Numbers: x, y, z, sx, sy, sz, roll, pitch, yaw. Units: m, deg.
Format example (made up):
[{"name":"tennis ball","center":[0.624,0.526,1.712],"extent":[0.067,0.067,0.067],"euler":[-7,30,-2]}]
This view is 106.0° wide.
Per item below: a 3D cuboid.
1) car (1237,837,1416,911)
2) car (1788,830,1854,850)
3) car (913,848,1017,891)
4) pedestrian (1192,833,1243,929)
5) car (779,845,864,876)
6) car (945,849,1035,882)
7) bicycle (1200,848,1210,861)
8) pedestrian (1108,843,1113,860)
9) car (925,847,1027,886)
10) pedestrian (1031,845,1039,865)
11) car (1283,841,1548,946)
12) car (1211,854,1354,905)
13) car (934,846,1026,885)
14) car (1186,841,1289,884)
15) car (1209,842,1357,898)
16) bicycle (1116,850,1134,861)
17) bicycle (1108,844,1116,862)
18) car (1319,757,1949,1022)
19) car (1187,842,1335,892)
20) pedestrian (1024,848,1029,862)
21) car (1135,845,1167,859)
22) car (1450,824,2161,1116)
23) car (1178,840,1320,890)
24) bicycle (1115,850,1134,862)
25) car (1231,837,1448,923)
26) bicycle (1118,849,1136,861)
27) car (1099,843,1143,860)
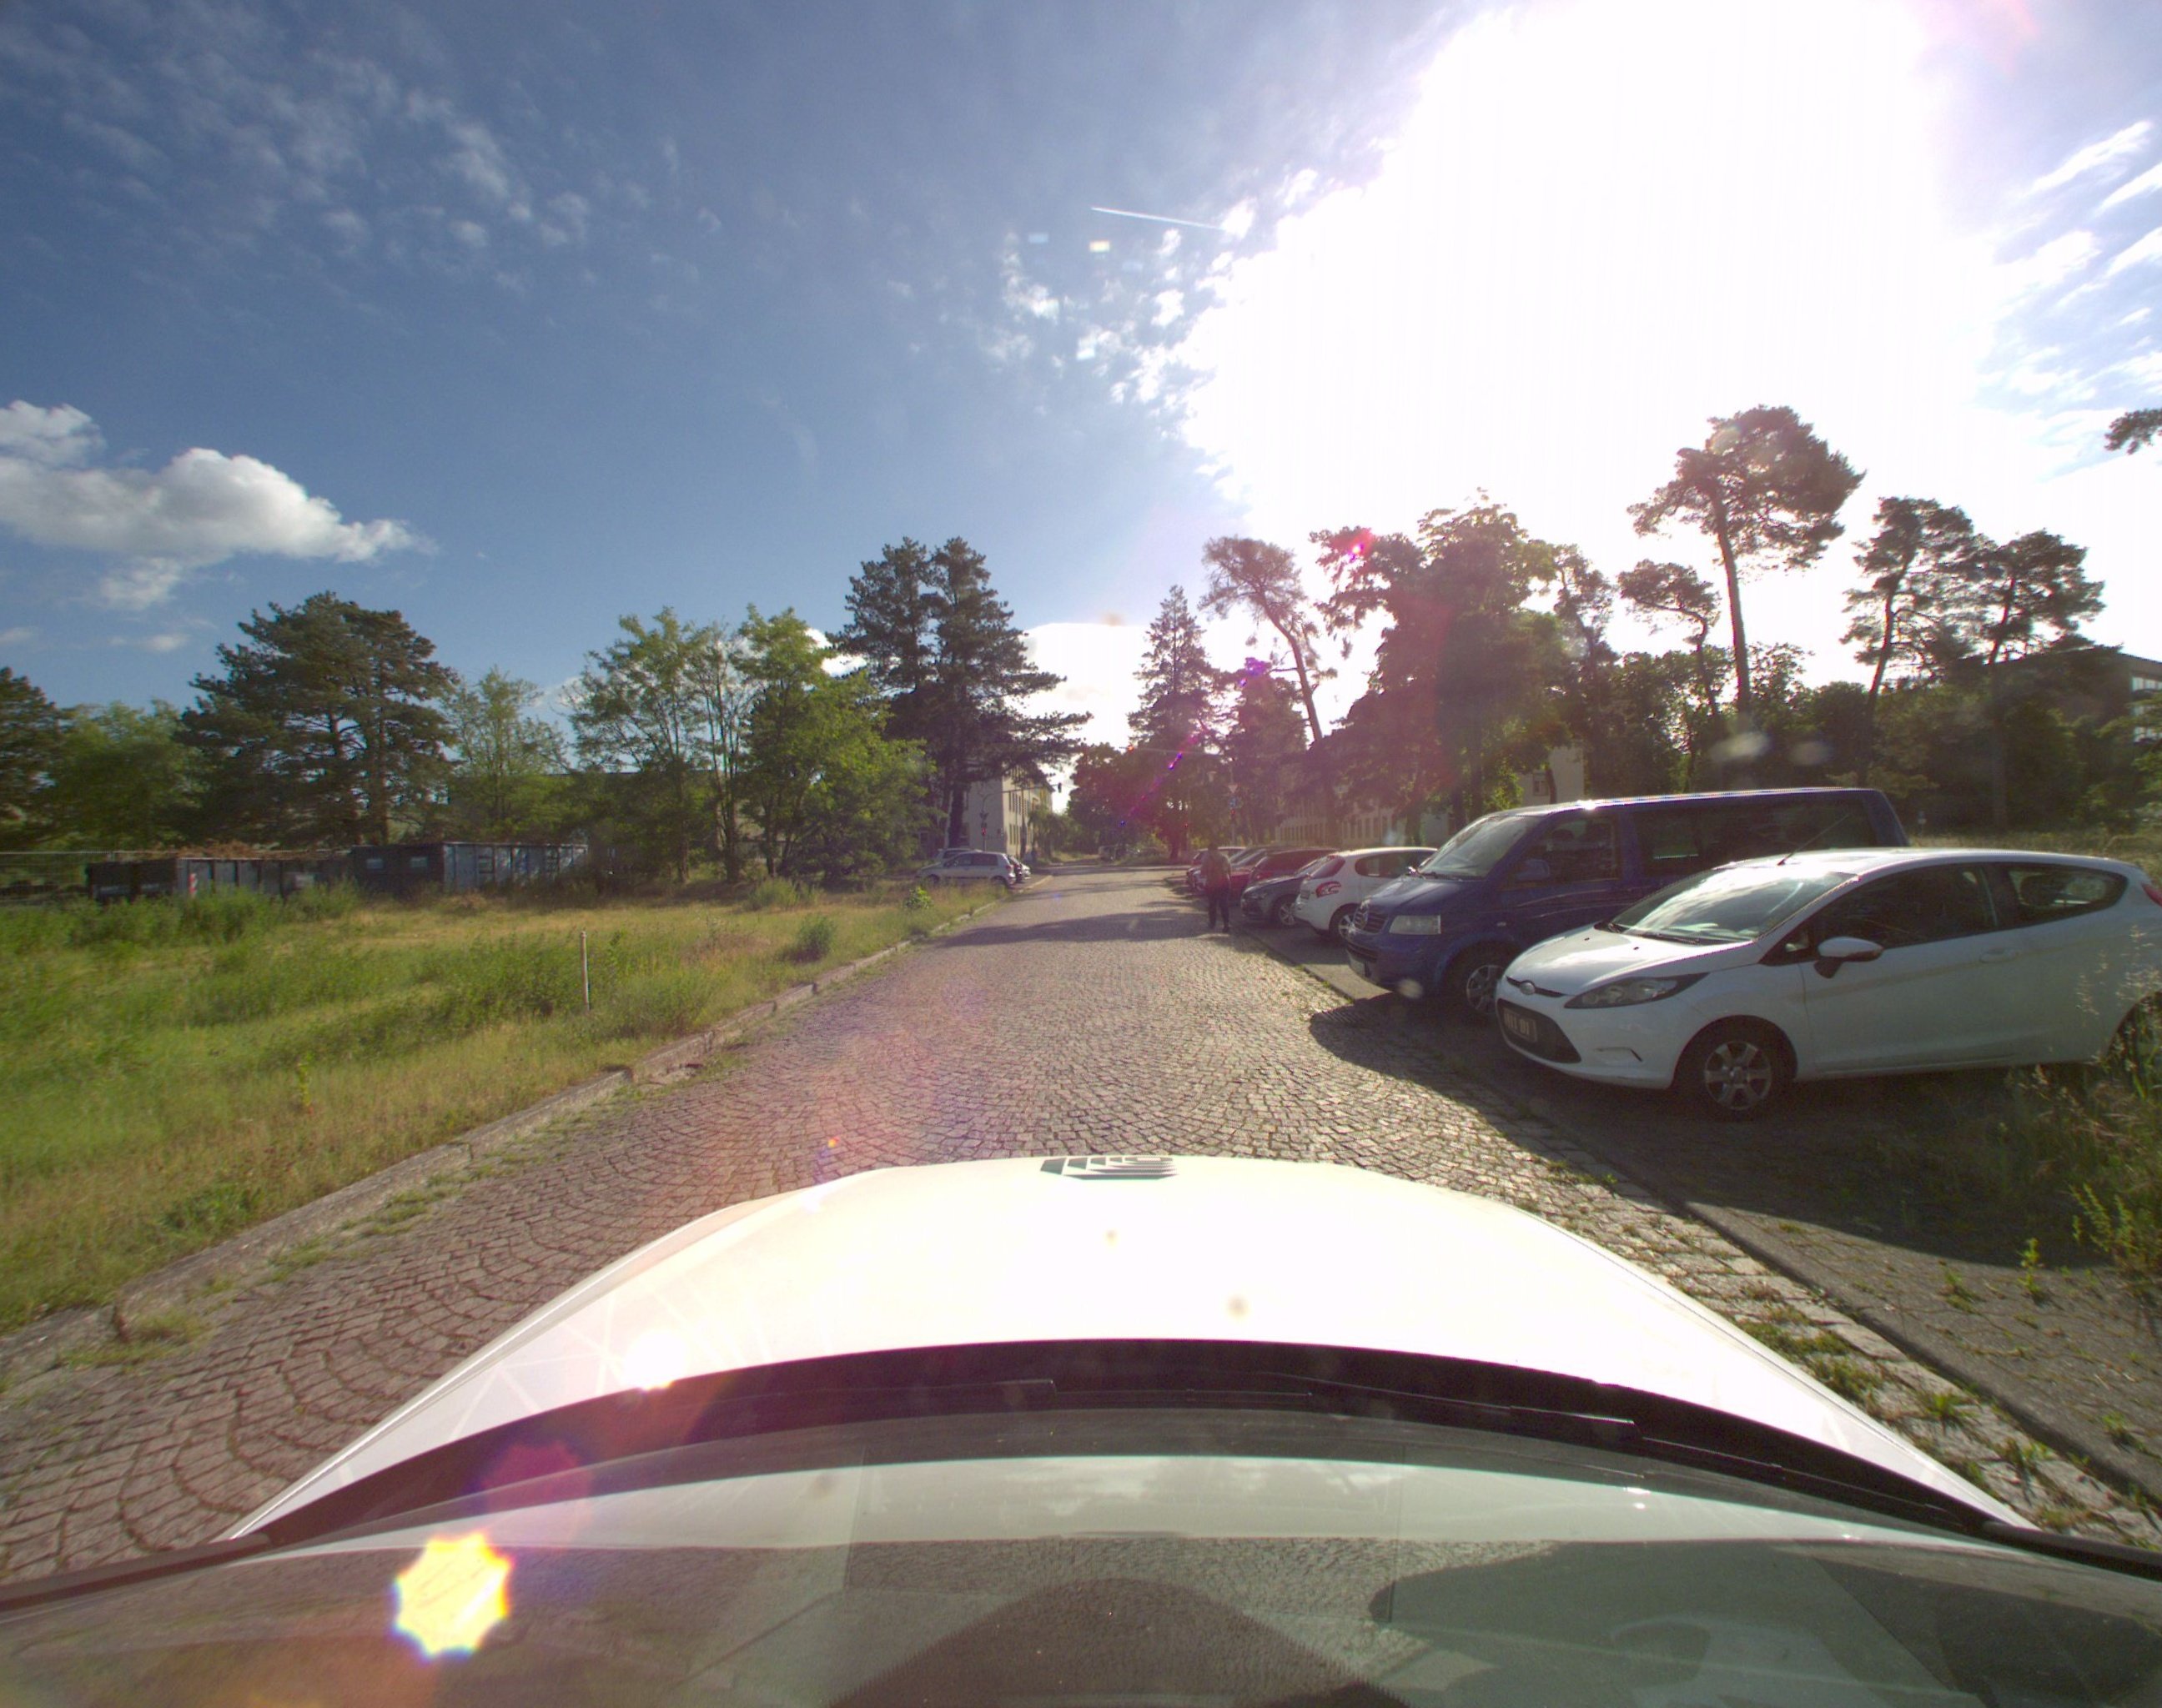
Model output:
[{"name":"car","center":[5.643,0.446,19.045],"extent":[3.649,1.455,1.667],"euler":[-3,0,1]},{"name":"car","center":[59.125,-1.103,65.091],"extent":[3.619,1.497,1.769],"euler":[-1,0,4]},{"name":"car","center":[-4.364,0.571,31.047],"extent":[3.674,1.527,1.699],"euler":[1,0,-1]},{"name":"pedestrian","center":[2.579,0.495,15.492],"extent":[0.750,1.725,0.829],"euler":[3,0,1]},{"name":"car","center":[-14.817,0.368,46.630],"extent":[4.127,1.608,2.011],"euler":[-1,0,2]},{"name":"car","center":[-4.316,0.538,39.103],"extent":[3.966,1.496,1.776],"euler":[1,1,6]},{"name":"bicycle","center":[10.460,0.024,68.589],"extent":[0.717,1.115,2.592],"euler":[-1,0,12]},{"name":"pedestrian","center":[3.504,-0.252,96.860],"extent":[0.592,2.013,0.573],"euler":[-1,0,4]},{"name":"car","center":[-4.282,0.501,33.712],"extent":[3.924,1.445,1.691],"euler":[2,0,0]},{"name":"pedestrian","center":[-4.054,0.098,72.039],"extent":[0.608,1.752,0.627],"euler":[-1,0,-16]},{"name":"car","center":[5.296,0.600,13.244],"extent":[3.630,1.492,1.635],"euler":[-2,0,2]},{"name":"car","center":[5.297,0.653,21.650],"extent":[3.447,1.242,1.537],"euler":[-1,0,2]},{"name":"car","center":[-4.462,0.491,36.402],"extent":[3.866,1.615,1.661],"euler":[1,0,0]},{"name":"car","center":[6.019,0.310,31.626],"extent":[3.659,1.443,1.666],"euler":[-3,0,1]},{"name":"car","center":[5.879,0.448,24.026],"extent":[3.965,1.448,1.656],"euler":[-2,0,1]},{"name":"bicycle","center":[4.395,0.164,81.199],"extent":[1.722,1.112,0.484],"euler":[-2,0,-2]},{"name":"bicycle","center":[2.957,-0.104,77.546],"extent":[0.750,1.580,2.538],"euler":[-1,0,1]},{"name":"car","center":[5.022,0.307,8.002],"extent":[4.735,2.013,2.001],"euler":[-3,0,2]},{"name":"car","center":[5.752,0.400,26.379],"extent":[4.384,1.388,1.789],"euler":[-3,0,0]},{"name":"pedestrian","center":[-6.343,0.131,94.704],"extent":[0.606,1.559,0.544],"euler":[-1,1,-5]},{"name":"car","center":[8.840,-0.247,102.380],"extent":[3.738,1.580,1.738],"euler":[-1,0,-6]},{"name":"car","center":[4.677,0.635,5.383],"extent":[3.708,1.466,1.609],"euler":[-3,0,-1]},{"name":"car","center":[5.919,0.363,29.089],"extent":[4.605,1.455,1.869],"euler":[-4,0,-1]},{"name":"bicycle","center":[4.307,0.169,80.656],"extent":[1.829,1.112,0.495],"euler":[-2,0,-2]},{"name":"car","center":[5.004,0.486,16.186],"extent":[3.765,1.450,1.759],"euler":[-3,0,3]},{"name":"bicycle","center":[4.654,0.118,81.874],"extent":[1.722,1.164,0.561],"euler":[-2,0,-2]},{"name":"car","center":[4.821,-0.351,98.594],"extent":[5.063,1.918,1.995],"euler":[-1,0,-8]}]
